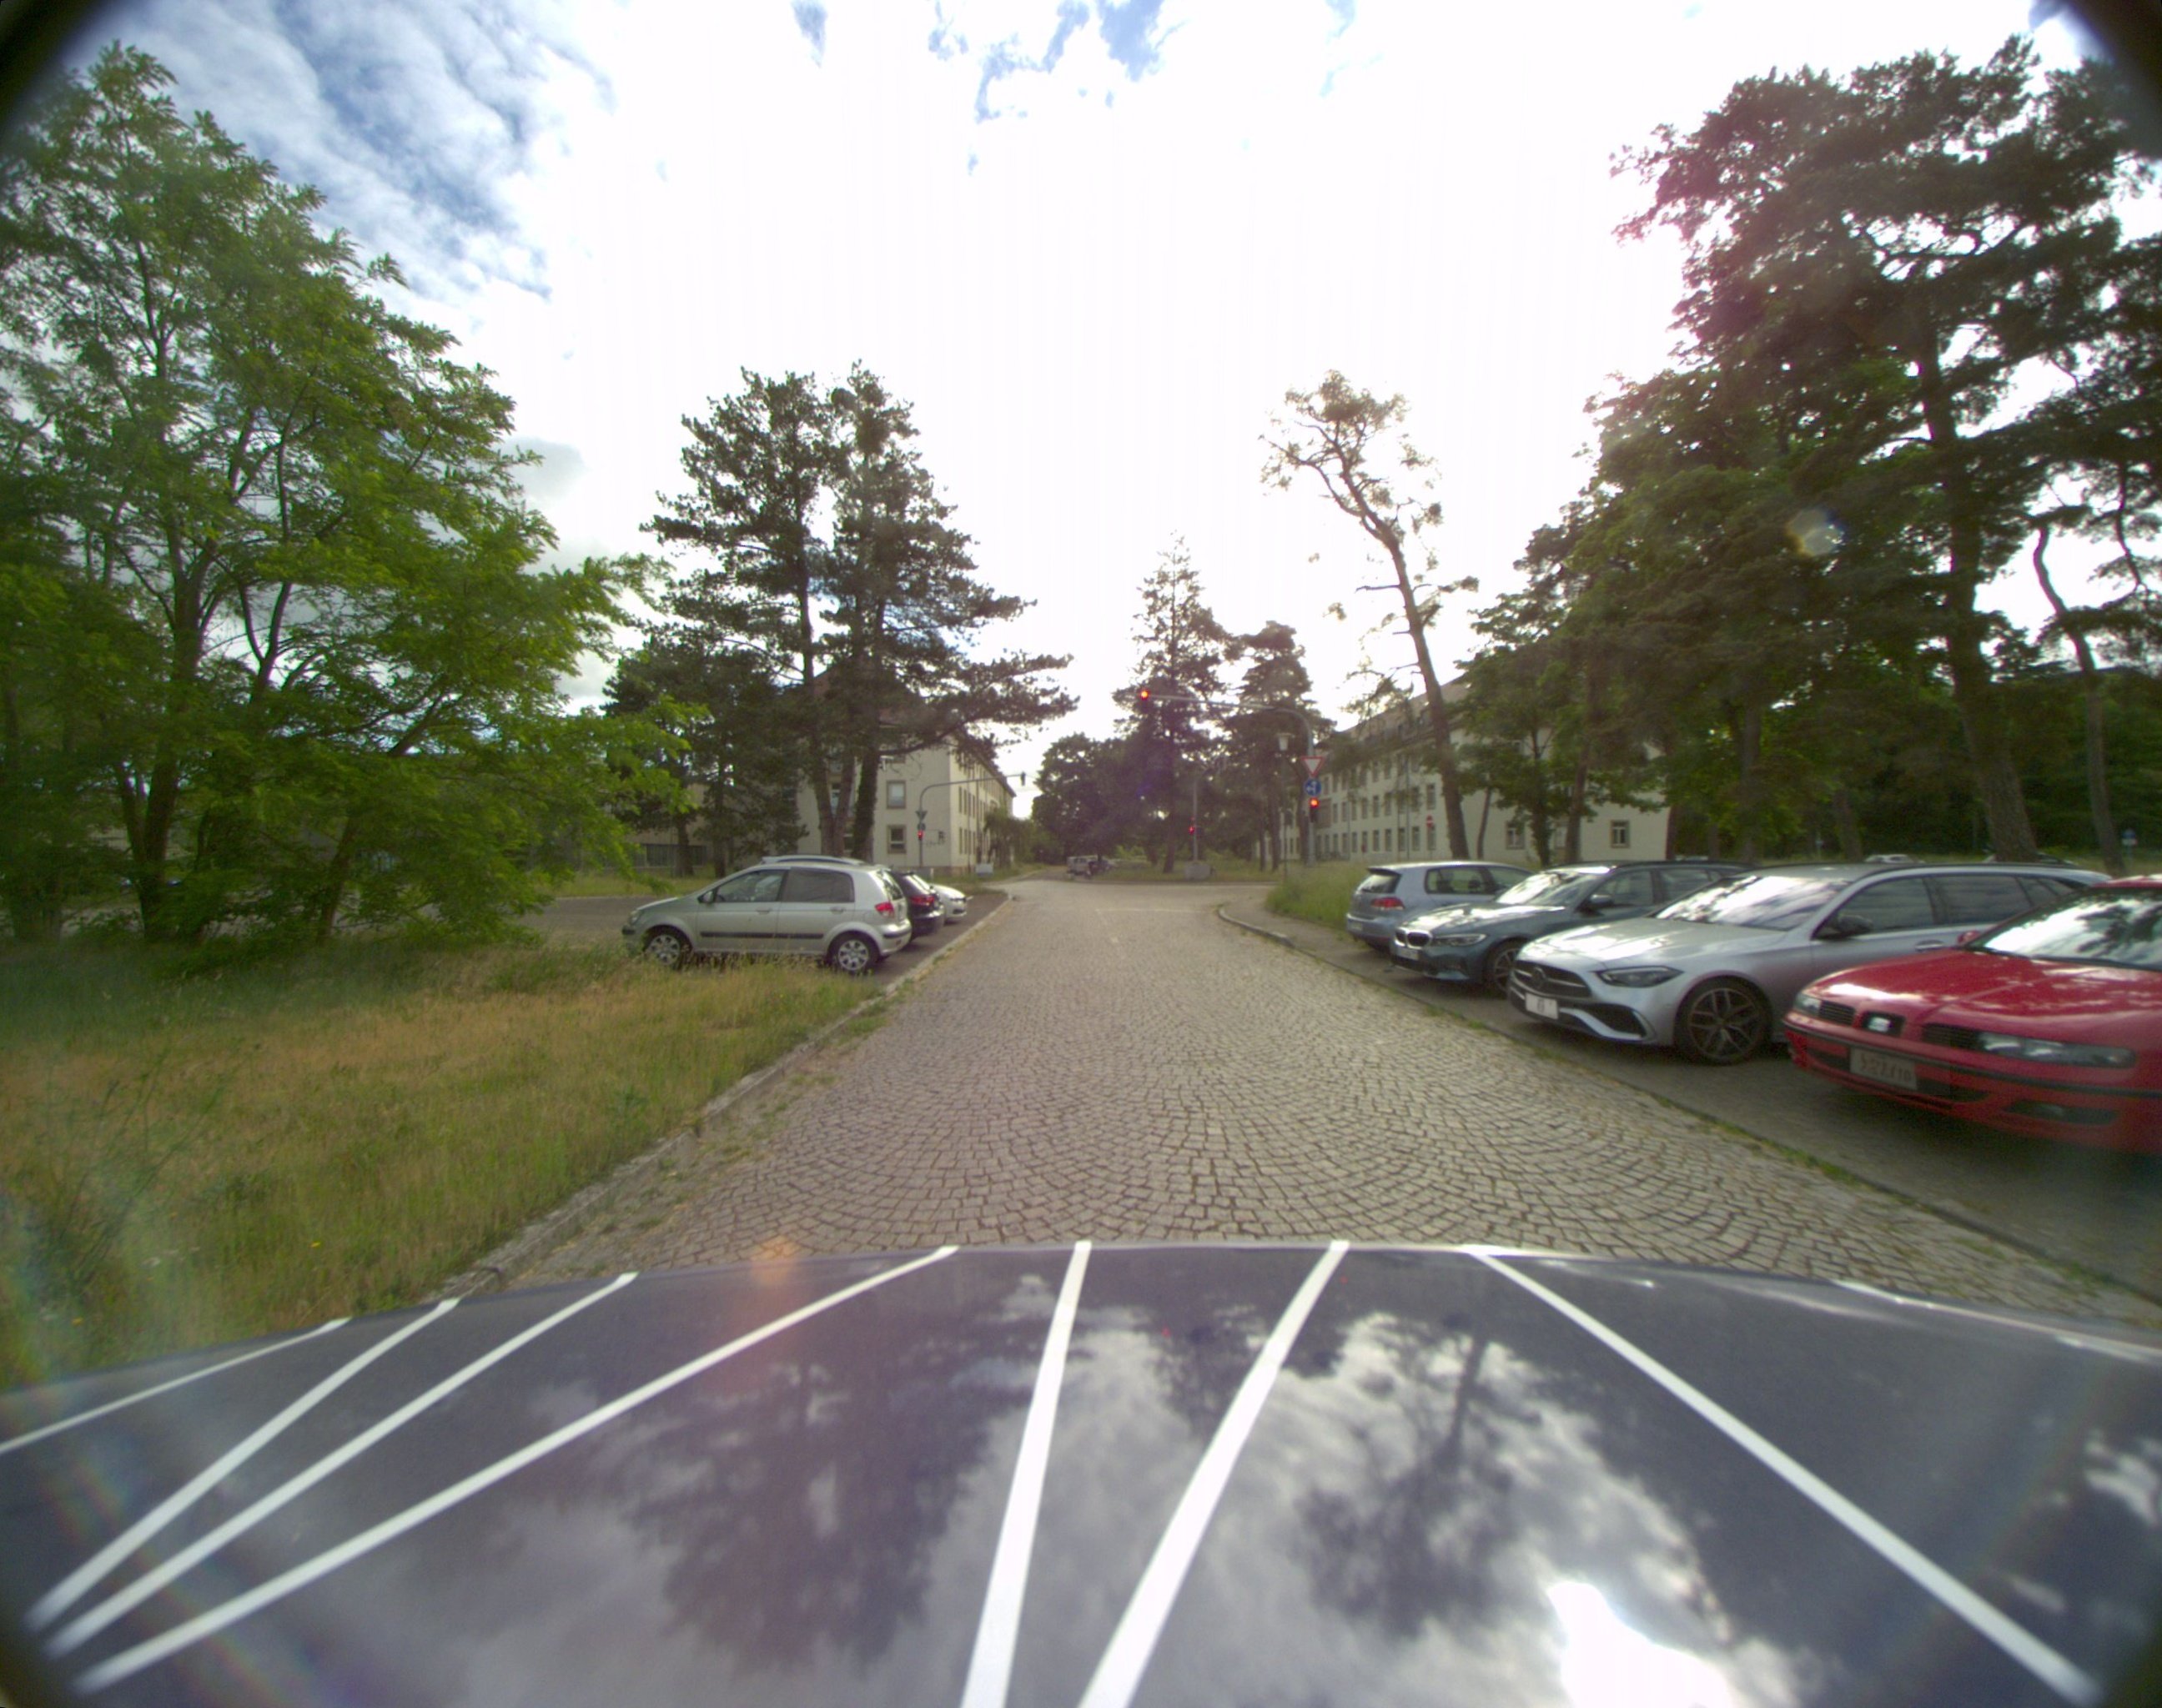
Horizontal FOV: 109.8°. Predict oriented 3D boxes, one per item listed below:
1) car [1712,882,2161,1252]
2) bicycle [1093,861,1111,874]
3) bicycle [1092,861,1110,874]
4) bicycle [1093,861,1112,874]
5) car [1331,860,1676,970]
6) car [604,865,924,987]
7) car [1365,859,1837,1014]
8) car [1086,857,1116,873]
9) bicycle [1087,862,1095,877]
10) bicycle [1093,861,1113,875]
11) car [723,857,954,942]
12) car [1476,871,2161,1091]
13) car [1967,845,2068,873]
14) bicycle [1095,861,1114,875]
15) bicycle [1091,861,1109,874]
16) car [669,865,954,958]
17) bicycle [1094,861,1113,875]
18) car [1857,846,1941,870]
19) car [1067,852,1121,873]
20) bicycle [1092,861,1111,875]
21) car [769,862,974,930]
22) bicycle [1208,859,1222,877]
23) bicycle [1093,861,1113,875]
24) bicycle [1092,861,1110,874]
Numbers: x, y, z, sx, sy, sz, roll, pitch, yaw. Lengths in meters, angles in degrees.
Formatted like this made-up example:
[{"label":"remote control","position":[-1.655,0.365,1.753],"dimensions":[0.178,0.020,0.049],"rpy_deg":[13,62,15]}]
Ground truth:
[{"label":"car","position":[6.365,0.927,4.172],"dimensions":[4.265,1.447,1.855],"rpy_deg":[-1,0,-1]},{"label":"bicycle","position":[1.783,1.152,65.205],"dimensions":[1.457,1.032,0.497],"rpy_deg":[-3,1,-6]},{"label":"bicycle","position":[1.731,1.159,66.744],"dimensions":[1.457,1.032,0.497],"rpy_deg":[-3,1,-6]},{"label":"bicycle","position":[1.777,1.138,63.612],"dimensions":[1.457,1.032,0.497],"rpy_deg":[-3,1,-6]},{"label":"car","position":[6.345,0.882,11.793],"dimensions":[4.340,1.462,1.827],"rpy_deg":[-1,1,1]},{"label":"car","position":[-4.292,0.963,10.797],"dimensions":[3.783,1.471,1.742],"rpy_deg":[2,-1,-4]},{"label":"car","position":[6.030,0.889,9.162],"dimensions":[4.514,1.528,1.869],"rpy_deg":[-1,1,-4]},{"label":"car","position":[1.958,1.094,75.281],"dimensions":[2.772,1.407,1.592],"rpy_deg":[-3,0,-2]},{"label":"bicycle","position":[0.774,1.194,57.494],"dimensions":[0.497,1.068,1.416],"rpy_deg":[-3,1,-1]},{"label":"bicycle","position":[1.782,1.157,61.302],"dimensions":[1.457,1.032,0.497],"rpy_deg":[-3,1,-6]},{"label":"car","position":[-4.999,0.922,16.176],"dimensions":[4.342,1.565,1.826],"rpy_deg":[2,1,-6]},{"label":"car","position":[6.100,0.940,6.477],"dimensions":[4.448,1.447,1.949],"rpy_deg":[-1,1,0]},{"label":"car","position":[58.161,0.294,47.228],"dimensions":[4.054,1.601,1.716],"rpy_deg":[-1,2,1]},{"label":"bicycle","position":[1.895,1.161,62.339],"dimensions":[1.457,1.032,0.497],"rpy_deg":[-3,1,-6]},{"label":"bicycle","position":[1.669,1.164,67.217],"dimensions":[1.457,1.032,0.497],"rpy_deg":[-3,1,-6]},{"label":"car","position":[-4.596,0.974,13.495],"dimensions":[4.378,1.397,1.796],"rpy_deg":[2,-1,-2]},{"label":"bicycle","position":[1.857,1.153,62.923],"dimensions":[1.457,1.032,0.497],"rpy_deg":[-3,1,-6]},{"label":"car","position":[58.767,0.312,54.642],"dimensions":[4.054,1.601,1.716],"rpy_deg":[-1,2,3]},{"label":"car","position":[1.335,0.880,78.608],"dimensions":[5.173,1.905,2.034],"rpy_deg":[-3,0,-14]},{"label":"bicycle","position":[1.738,1.167,64.080],"dimensions":[1.457,1.032,0.497],"rpy_deg":[-3,1,-6]},{"label":"car","position":[-5.020,0.999,18.753],"dimensions":[4.563,1.417,1.826],"rpy_deg":[2,1,-4]},{"label":"bicycle","position":[8.486,0.873,48.294],"dimensions":[0.497,1.068,1.416],"rpy_deg":[-3,1,-4]},{"label":"bicycle","position":[1.731,1.144,60.506],"dimensions":[1.457,1.032,0.497],"rpy_deg":[-3,1,-8]},{"label":"bicycle","position":[1.734,1.146,65.695],"dimensions":[1.457,1.032,0.497],"rpy_deg":[-3,1,-6]}]
